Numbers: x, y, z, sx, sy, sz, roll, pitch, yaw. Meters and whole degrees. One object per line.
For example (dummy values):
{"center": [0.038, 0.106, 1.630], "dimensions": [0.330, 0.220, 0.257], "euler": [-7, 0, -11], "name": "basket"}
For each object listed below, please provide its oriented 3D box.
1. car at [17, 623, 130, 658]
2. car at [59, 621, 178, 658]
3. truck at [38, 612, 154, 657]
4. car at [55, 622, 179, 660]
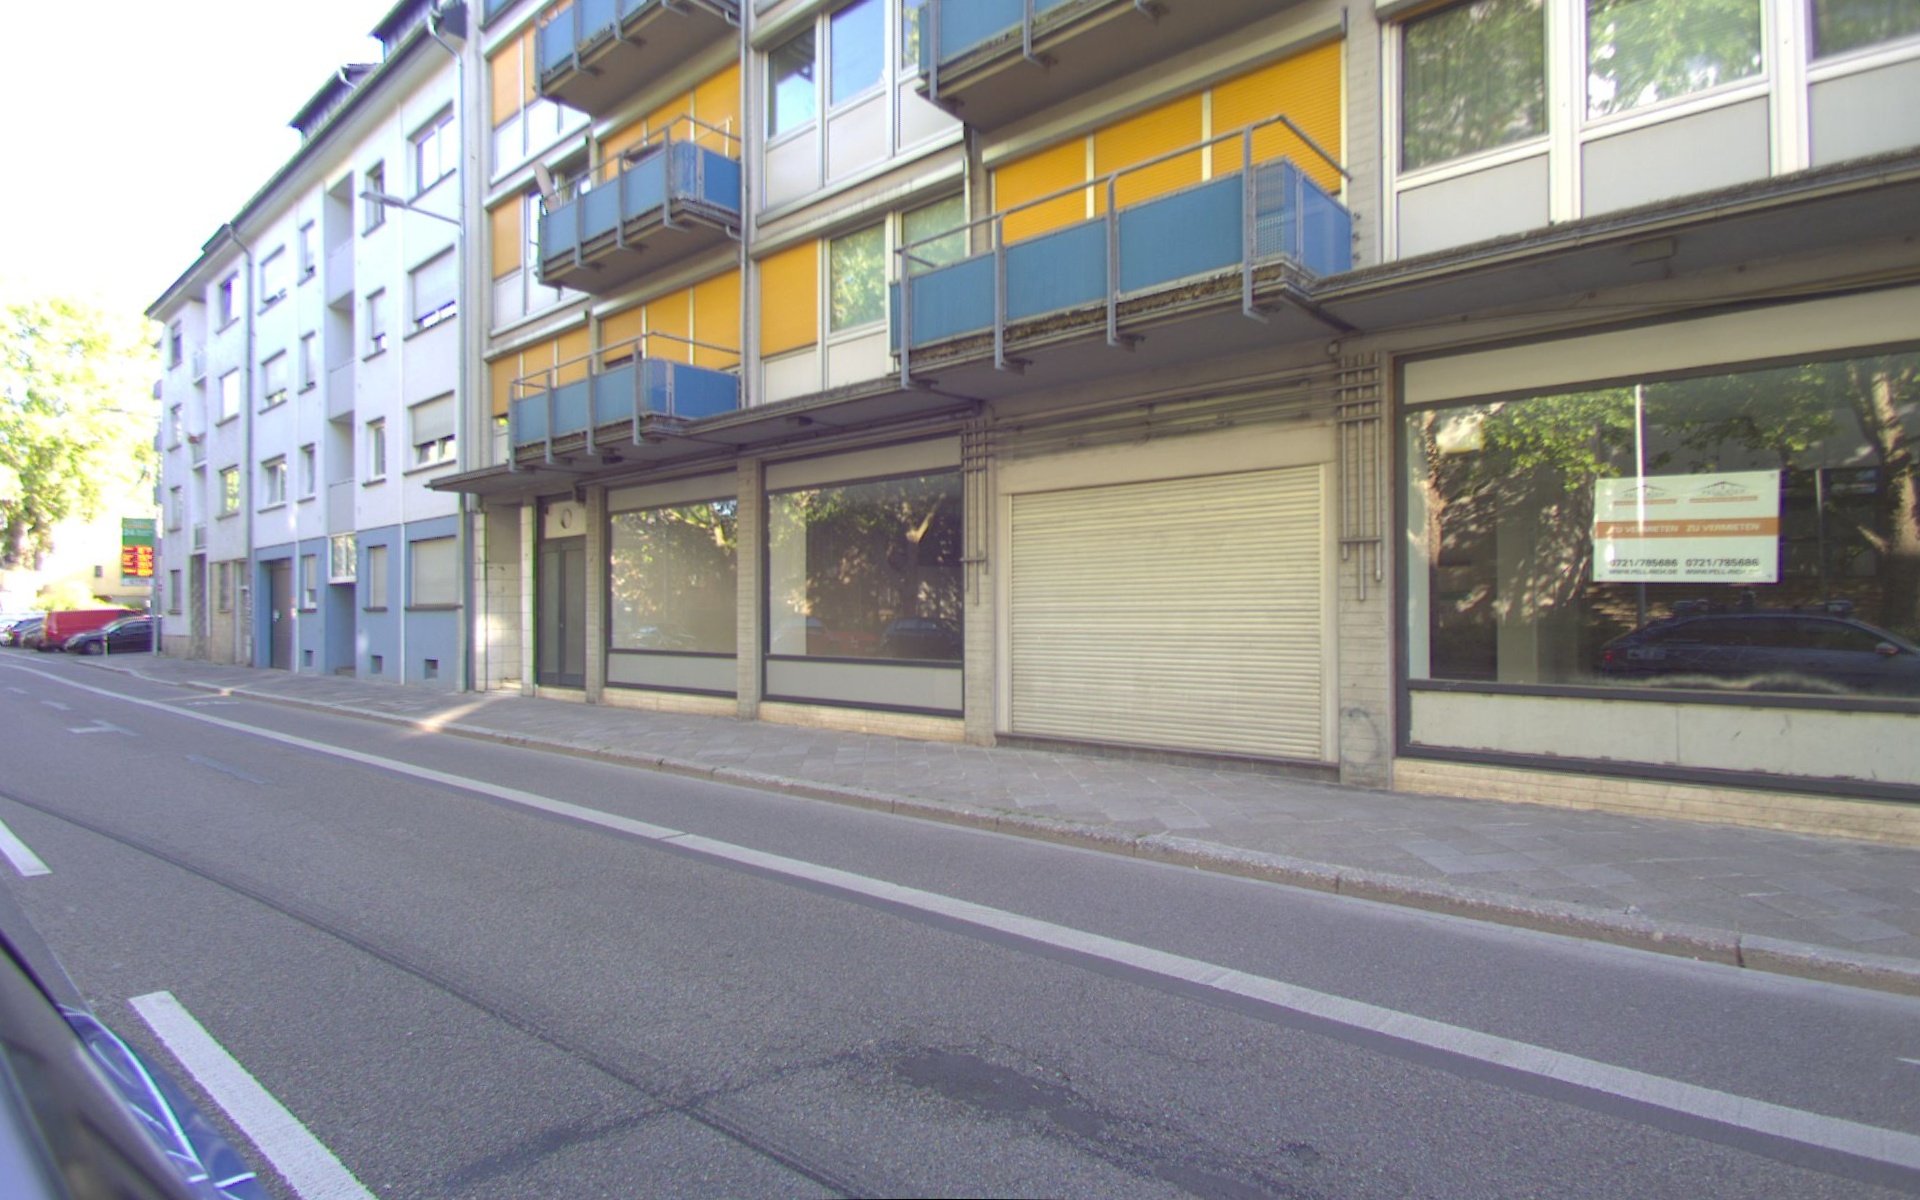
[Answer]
{"center": [-42.901, 1.905, 49.042], "dimensions": [1.761, 1.514, 3.944], "euler": [-1, 0, 42], "name": "car"}
{"center": [-38.100, 1.760, 45.903], "dimensions": [1.761, 1.514, 3.944], "euler": [-1, 0, 42], "name": "car"}
{"center": [-40.491, 1.573, 47.494], "dimensions": [1.761, 1.951, 3.944], "euler": [-1, 0, 42], "name": "truck"}
{"center": [-36.619, 1.764, 44.015], "dimensions": [1.761, 1.468, 3.944], "euler": [-1, 0, 42], "name": "car"}
